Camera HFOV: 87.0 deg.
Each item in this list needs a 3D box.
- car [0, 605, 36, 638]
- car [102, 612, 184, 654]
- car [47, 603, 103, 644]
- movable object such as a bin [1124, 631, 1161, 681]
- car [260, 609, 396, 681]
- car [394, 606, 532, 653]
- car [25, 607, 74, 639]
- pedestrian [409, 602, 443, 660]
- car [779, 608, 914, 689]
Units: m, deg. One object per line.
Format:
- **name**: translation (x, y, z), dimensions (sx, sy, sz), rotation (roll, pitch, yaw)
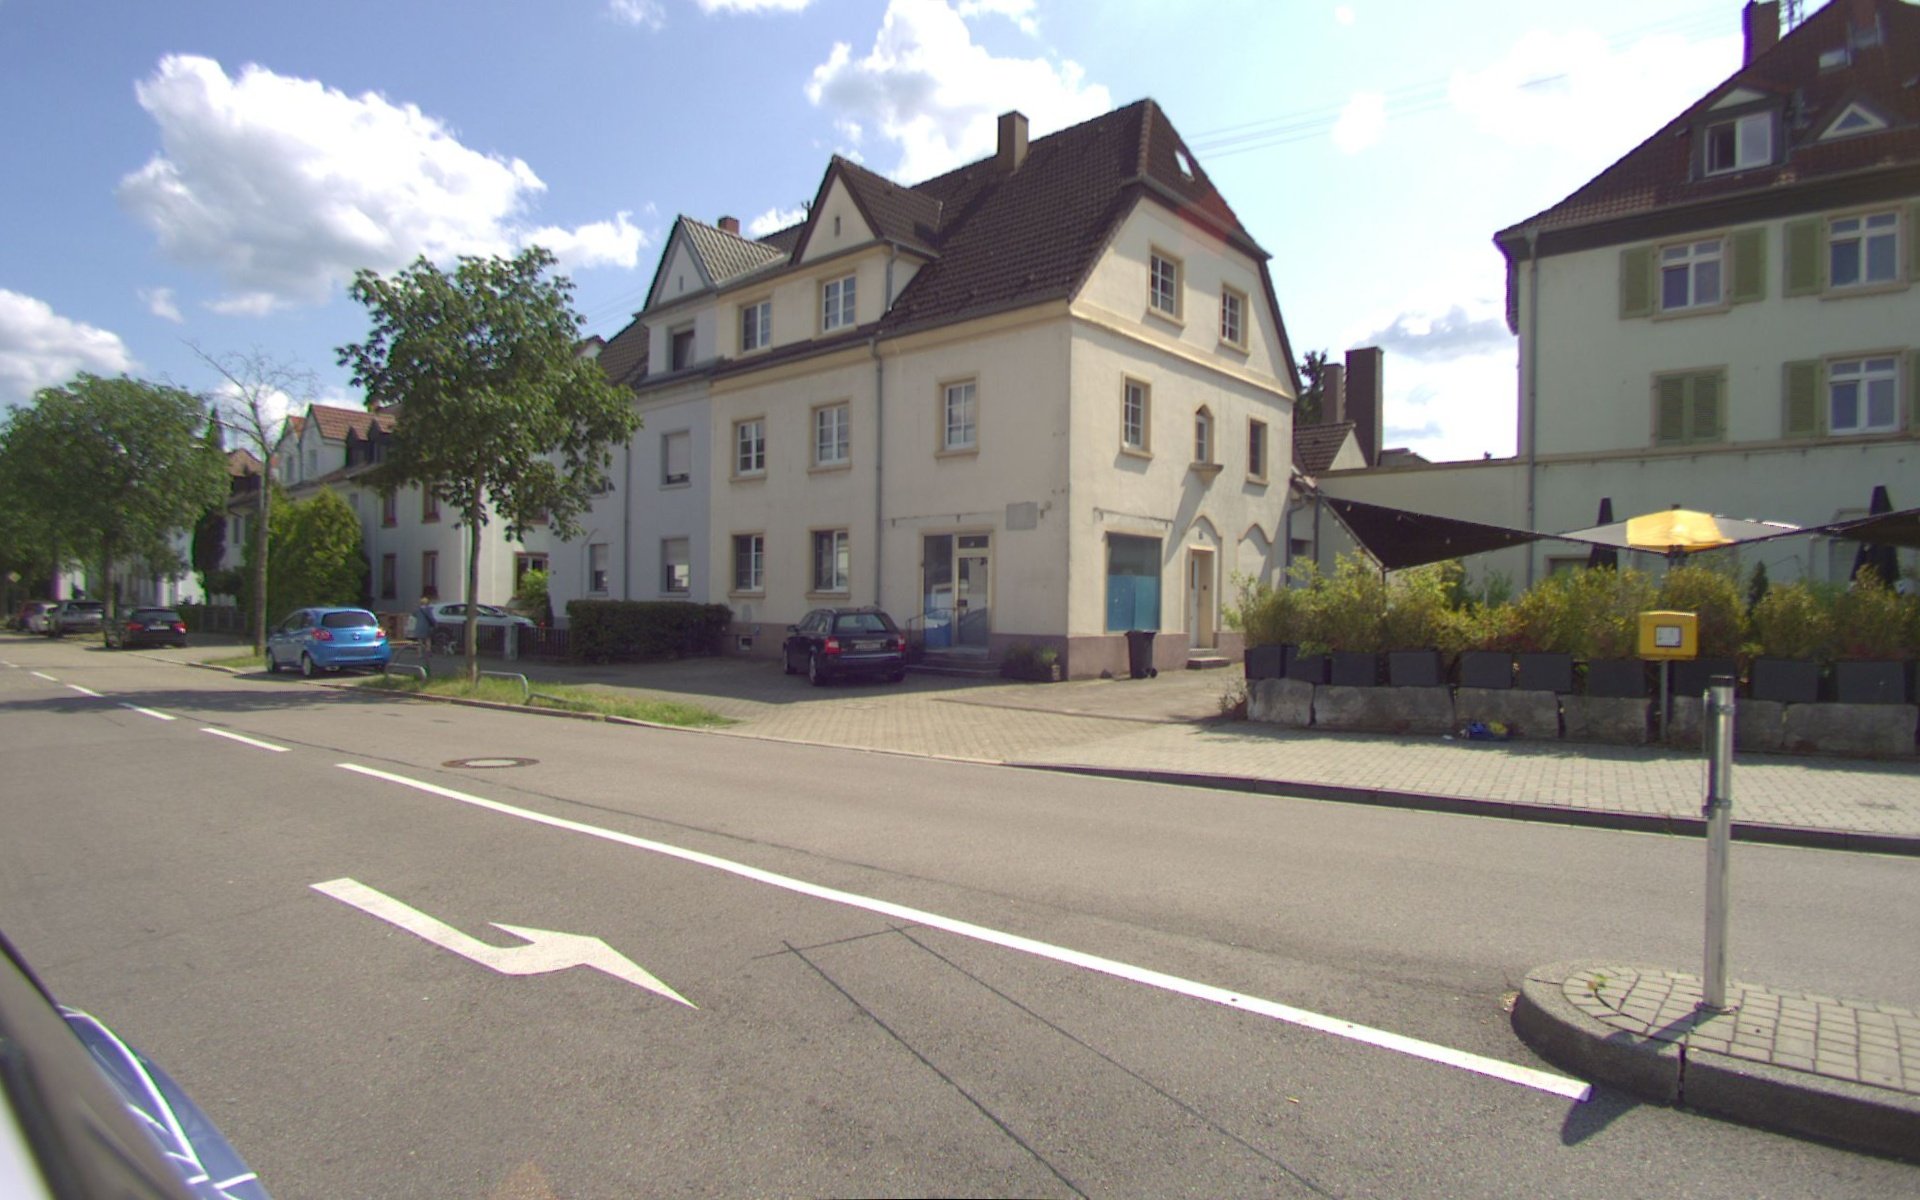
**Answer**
- **car**: translation (-49.483, 1.115, 52.893), dimensions (3.252, 1.667, 1.541), rotation (-1, -1, 44)
- **car**: translation (-27.463, 1.073, 33.996), dimensions (3.919, 1.306, 1.686), rotation (-1, -1, 44)
- **car**: translation (-37.873, 0.972, 43.287), dimensions (3.574, 1.667, 1.541), rotation (-1, -1, 44)
- **movable object such as a bin**: translation (3.653, 1.115, 20.263), dimensions (0.510, 0.979, 0.608), rotation (-1, -1, 41)
- **car**: translation (-13.986, 0.943, 22.356), dimensions (3.153, 1.473, 1.687), rotation (-1, -1, 41)
- **car**: translation (-16.372, 0.947, 33.466), dimensions (1.711, 1.465, 3.754), rotation (-1, -1, 44)
- **car**: translation (-42.474, 1.066, 47.189), dimensions (1.601, 1.436, 3.004), rotation (0, 0, -43)
- **pedestrian**: translation (-14.428, 0.824, 27.346), dimensions (0.618, 1.547, 0.623), rotation (-1, -1, 42)
- **car**: translation (-2.324, 0.877, 19.738), dimensions (1.732, 1.397, 4.115), rotation (1, -1, -19)
